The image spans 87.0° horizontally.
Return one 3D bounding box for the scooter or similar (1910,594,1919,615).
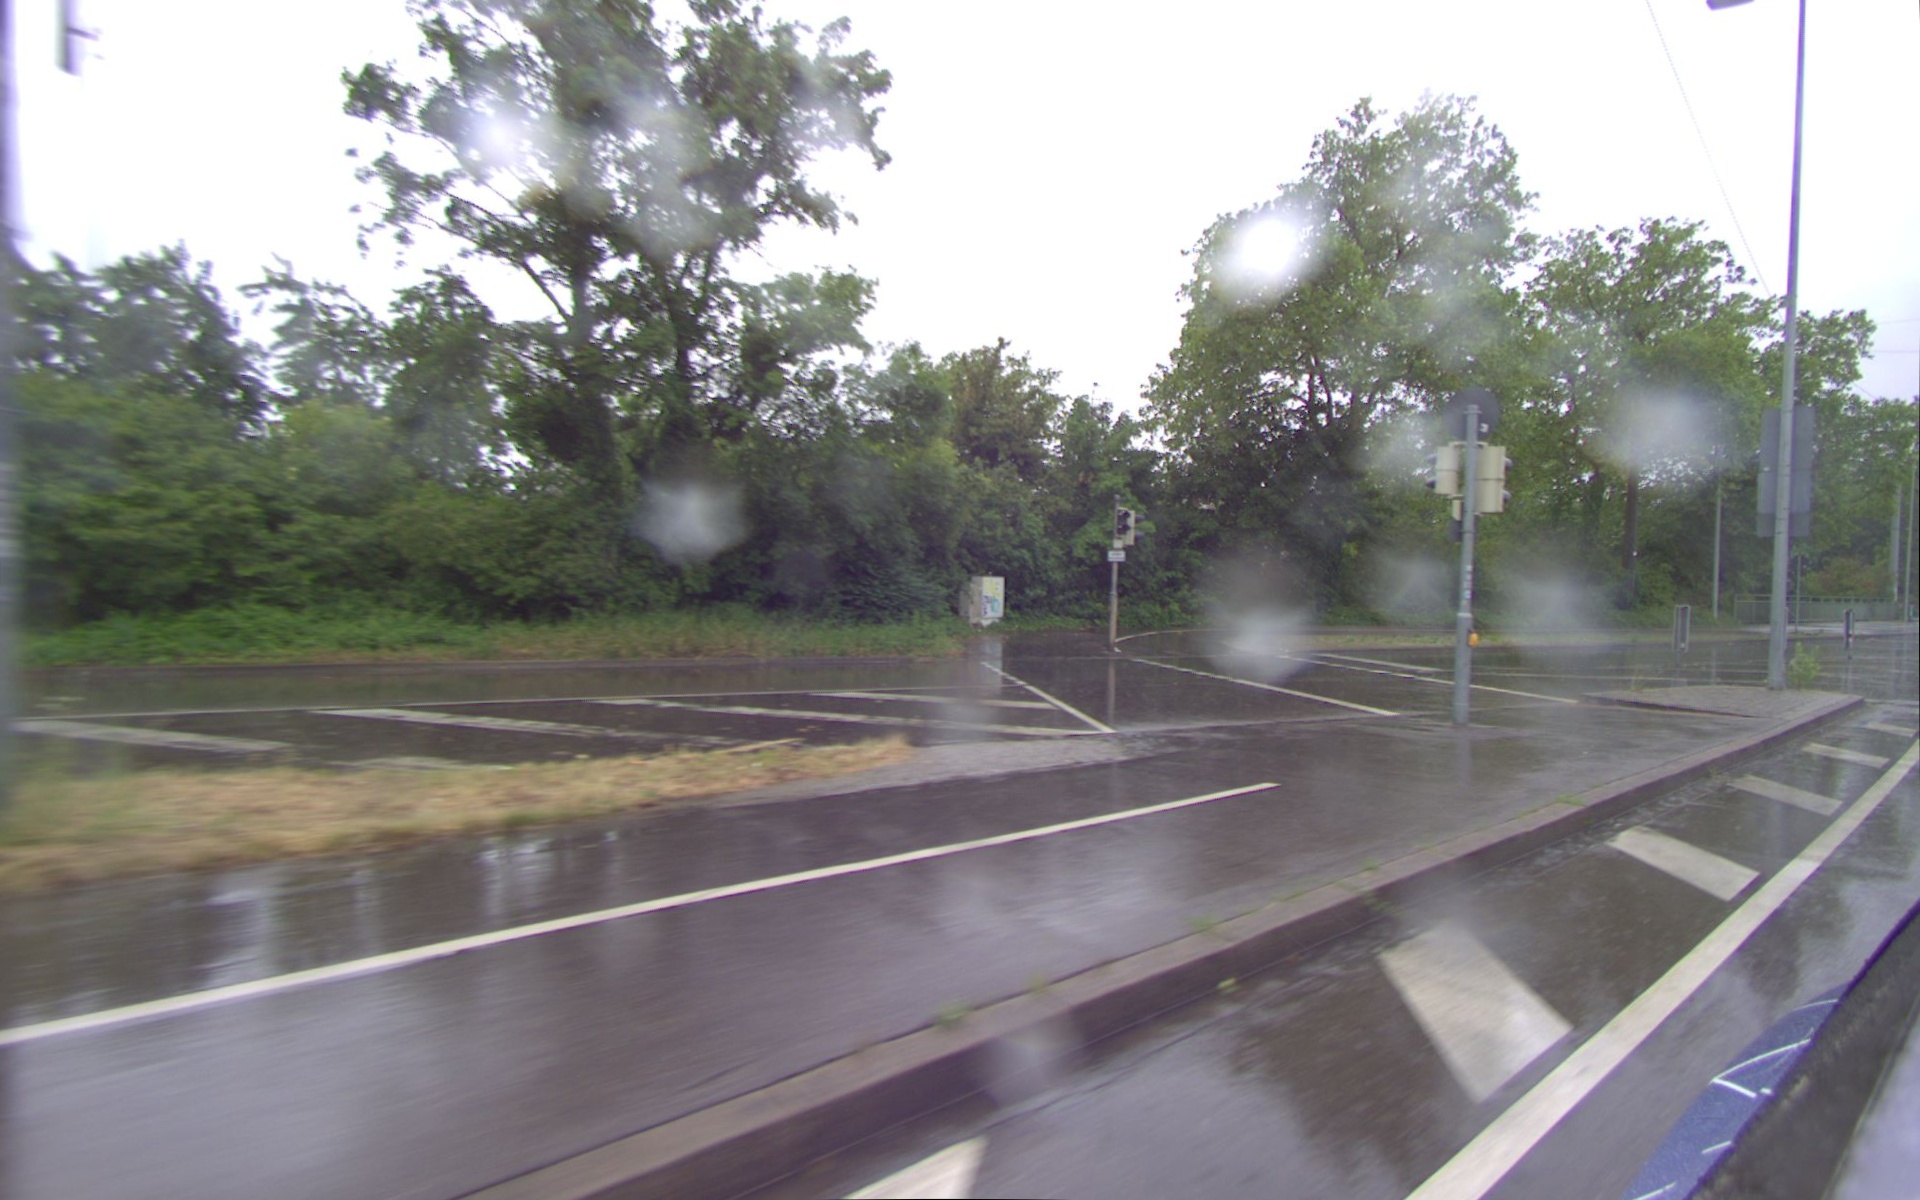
[{"bbox_3d":[60.144,0.279,63.288,1.616,1.309,0.761,0,2,-37],"label":"scooter or similar"}]
